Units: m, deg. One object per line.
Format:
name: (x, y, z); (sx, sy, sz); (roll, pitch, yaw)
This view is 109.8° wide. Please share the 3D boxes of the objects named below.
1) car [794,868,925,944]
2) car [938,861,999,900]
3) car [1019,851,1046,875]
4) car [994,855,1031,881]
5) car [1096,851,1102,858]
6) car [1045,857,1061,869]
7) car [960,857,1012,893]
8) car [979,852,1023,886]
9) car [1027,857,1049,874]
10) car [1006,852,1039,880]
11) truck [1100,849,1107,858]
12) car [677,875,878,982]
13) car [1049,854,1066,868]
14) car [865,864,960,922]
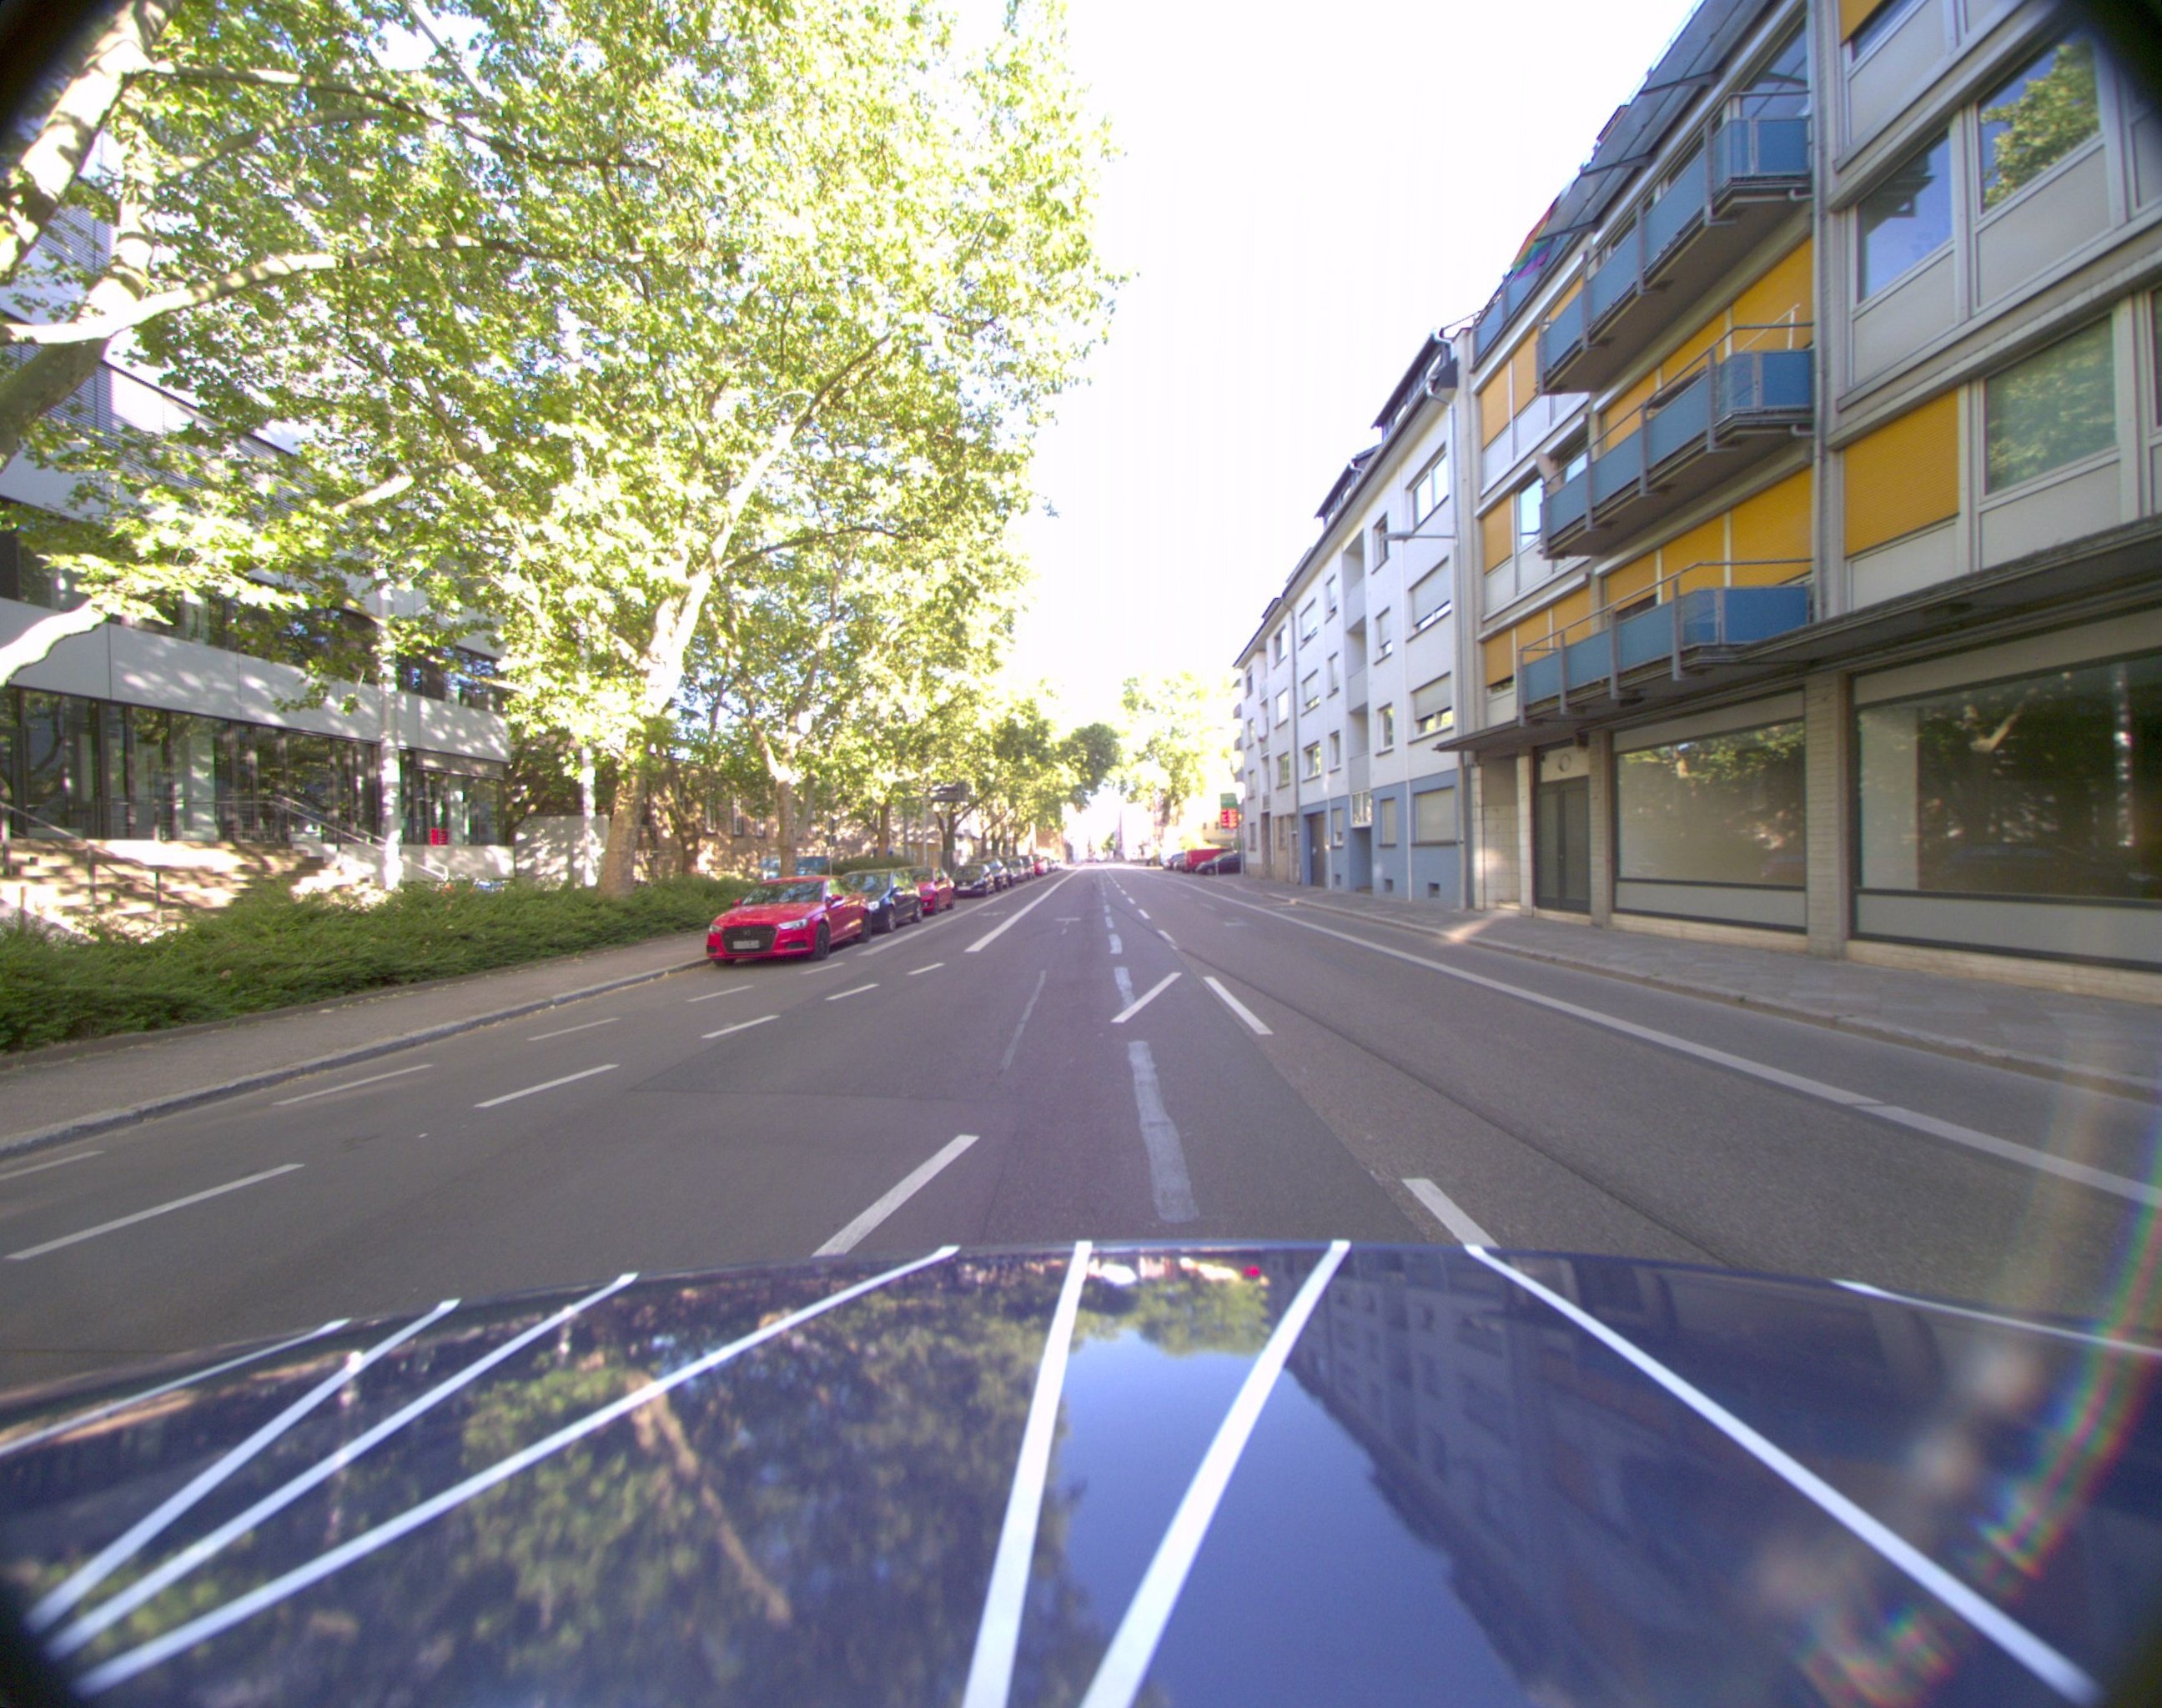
car: (-5.174, 1.167, 18.298); (1.998, 1.452, 3.644); (-2, 1, 1)
car: (-4.839, 1.126, 33.188); (1.998, 1.447, 3.589); (-2, 1, 1)
car: (-4.222, 0.768, 66.411); (1.998, 1.960, 3.999); (-2, 1, 1)
car: (-4.528, 0.914, 50.940); (1.998, 1.557, 4.142); (-2, 1, 1)
car: (6.170, 0.175, 259.463); (1.998, 2.002, 3.999); (-2, 1, 1)
car: (-3.346, 1.064, 92.746); (1.693, 1.364, 3.999); (-2, 1, 1)
car: (-4.685, 1.002, 38.135); (1.998, 1.592, 4.142); (-2, 1, 1)
car: (-4.608, 0.835, 44.526); (1.998, 1.777, 4.572); (-2, 1, 1)
car: (-4.036, 1.077, 72.006); (1.824, 1.466, 3.999); (-2, 1, 1)
car: (-4.238, 0.840, 55.590); (1.998, 1.838, 3.999); (-2, 1, 1)
truck: (6.881, -0.310, 233.832); (1.998, 2.653, 5.314); (-2, 1, 0)
car: (-5.188, 1.195, 13.647); (1.907, 1.417, 3.999); (-2, 1, 1)
car: (-3.184, 0.900, 103.017); (1.998, 1.682, 3.999); (-2, 1, 1)
car: (-5.129, 1.146, 23.684); (1.998, 1.490, 3.828); (-2, 1, 1)
